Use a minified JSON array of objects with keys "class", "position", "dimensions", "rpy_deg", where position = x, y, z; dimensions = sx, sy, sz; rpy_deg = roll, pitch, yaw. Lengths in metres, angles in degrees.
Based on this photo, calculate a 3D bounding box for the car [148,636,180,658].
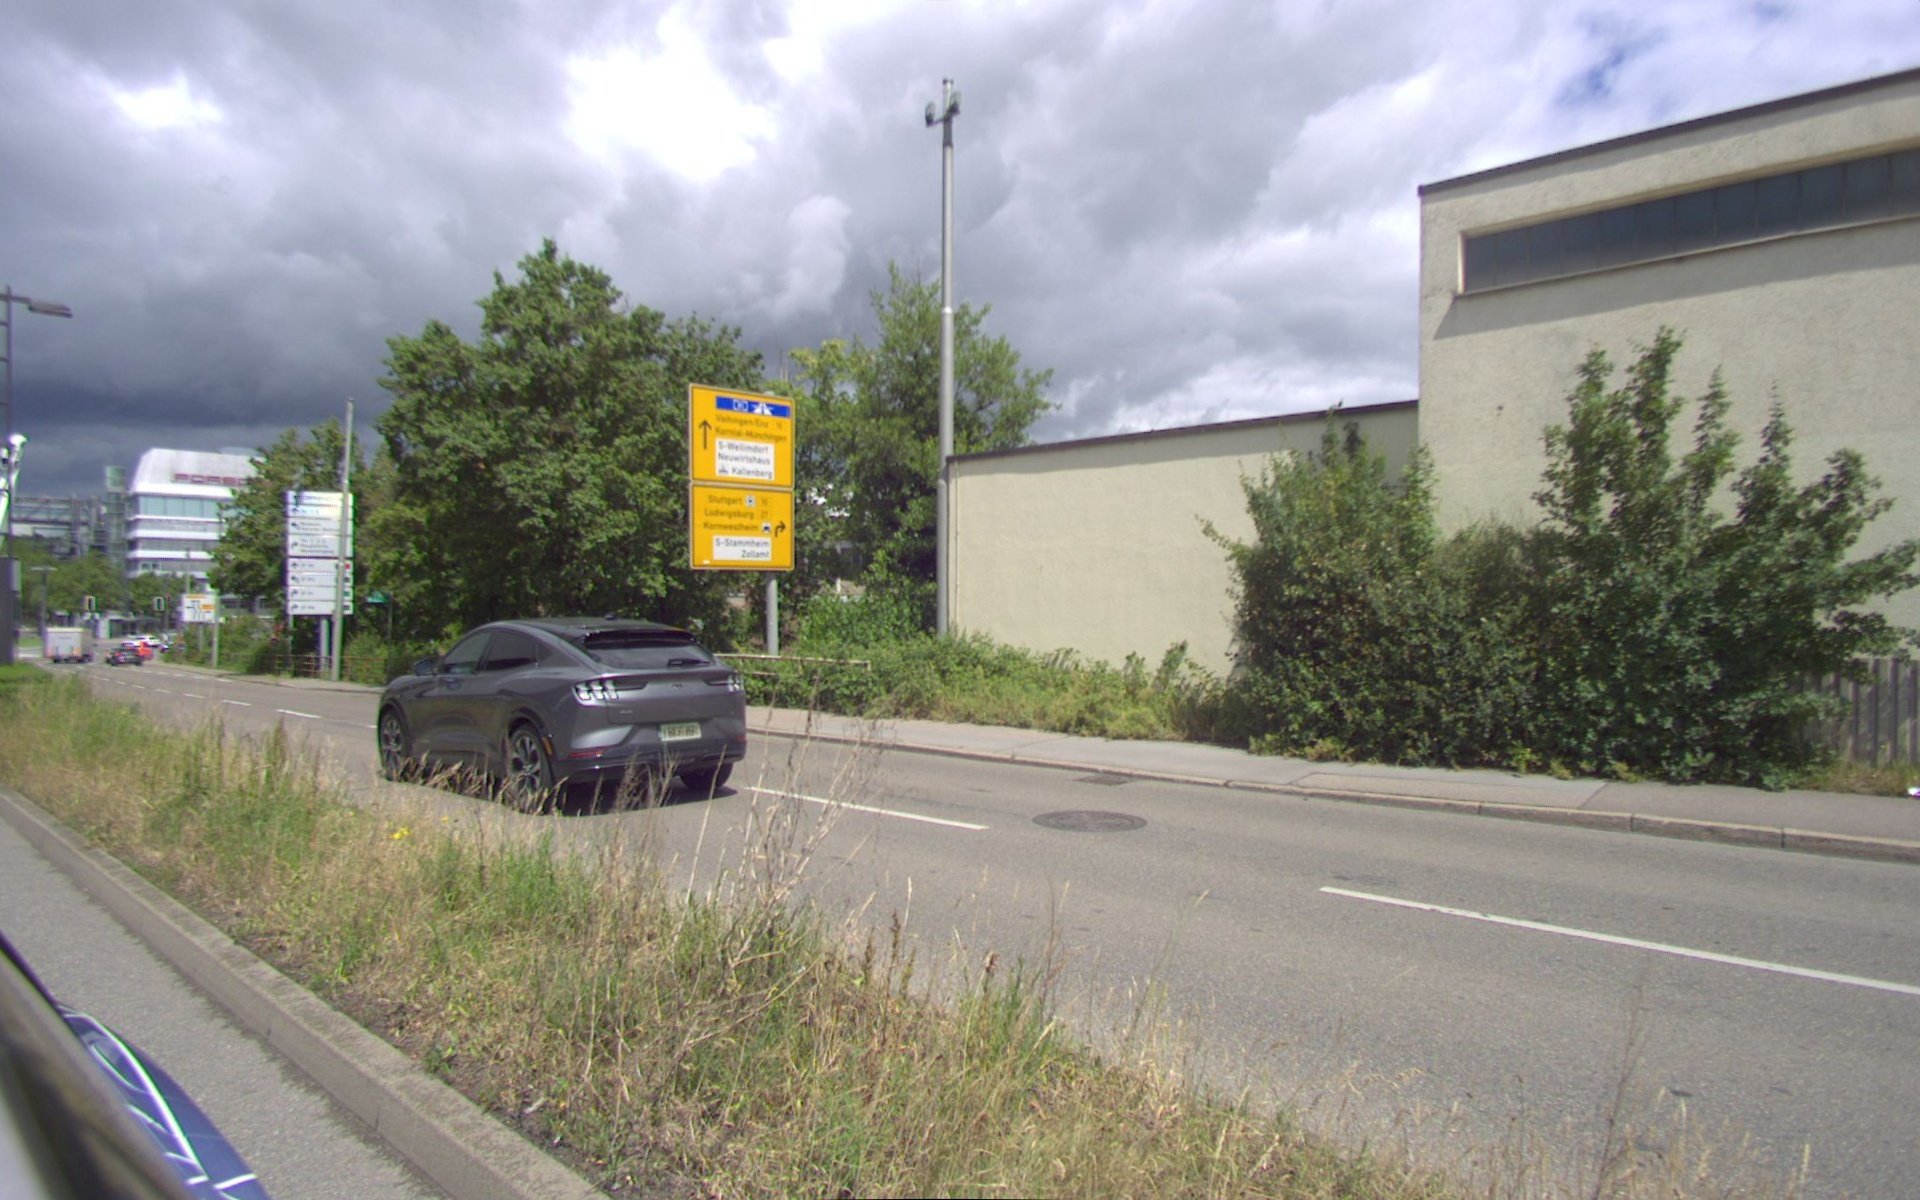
[{"class":"car","position":[-87.612,5.142,111.484],"dimensions":[1.853,2.028,4.013],"rpy_deg":[-6,3,-27]}]

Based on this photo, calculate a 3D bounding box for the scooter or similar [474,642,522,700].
[{"class":"scooter or similar","position":[-11.032,1.678,24.137],"dimensions":[0.486,1.314,1.644],"rpy_deg":[-2,-1,-44]}]

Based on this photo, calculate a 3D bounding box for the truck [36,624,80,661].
[{"class":"truck","position":[-80.339,3.872,90.228],"dimensions":[2.820,2.879,9.388],"rpy_deg":[0,-4,-41]}]

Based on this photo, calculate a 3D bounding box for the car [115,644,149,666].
[{"class":"car","position":[-78.361,5.198,95.829],"dimensions":[1.966,1.973,4.641],"rpy_deg":[-1,-1,-32]}]

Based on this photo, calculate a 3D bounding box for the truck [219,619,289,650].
[{"class":"truck","position":[-92.624,4.574,132.802],"dimensions":[8.906,3.594,2.350],"rpy_deg":[-3,-1,16]}]

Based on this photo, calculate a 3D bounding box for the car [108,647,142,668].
[{"class":"car","position":[-64.969,4.485,78.716],"dimensions":[1.817,1.519,4.566],"rpy_deg":[1,-3,-42]}]

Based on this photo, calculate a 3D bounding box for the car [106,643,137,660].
[{"class":"car","position":[-74.365,4.541,89.794],"dimensions":[1.772,1.433,4.502],"rpy_deg":[1,-3,-37]}]

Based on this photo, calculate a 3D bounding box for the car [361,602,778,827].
[{"class":"car","position":[-3.846,0.924,9.569],"dimensions":[4.442,1.639,1.858],"rpy_deg":[-2,-3,42]}]

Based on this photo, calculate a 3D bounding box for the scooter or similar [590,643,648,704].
[{"class":"scooter or similar","position":[-7.139,1.517,21.151],"dimensions":[0.485,1.225,1.644],"rpy_deg":[1,-3,-44]}]
